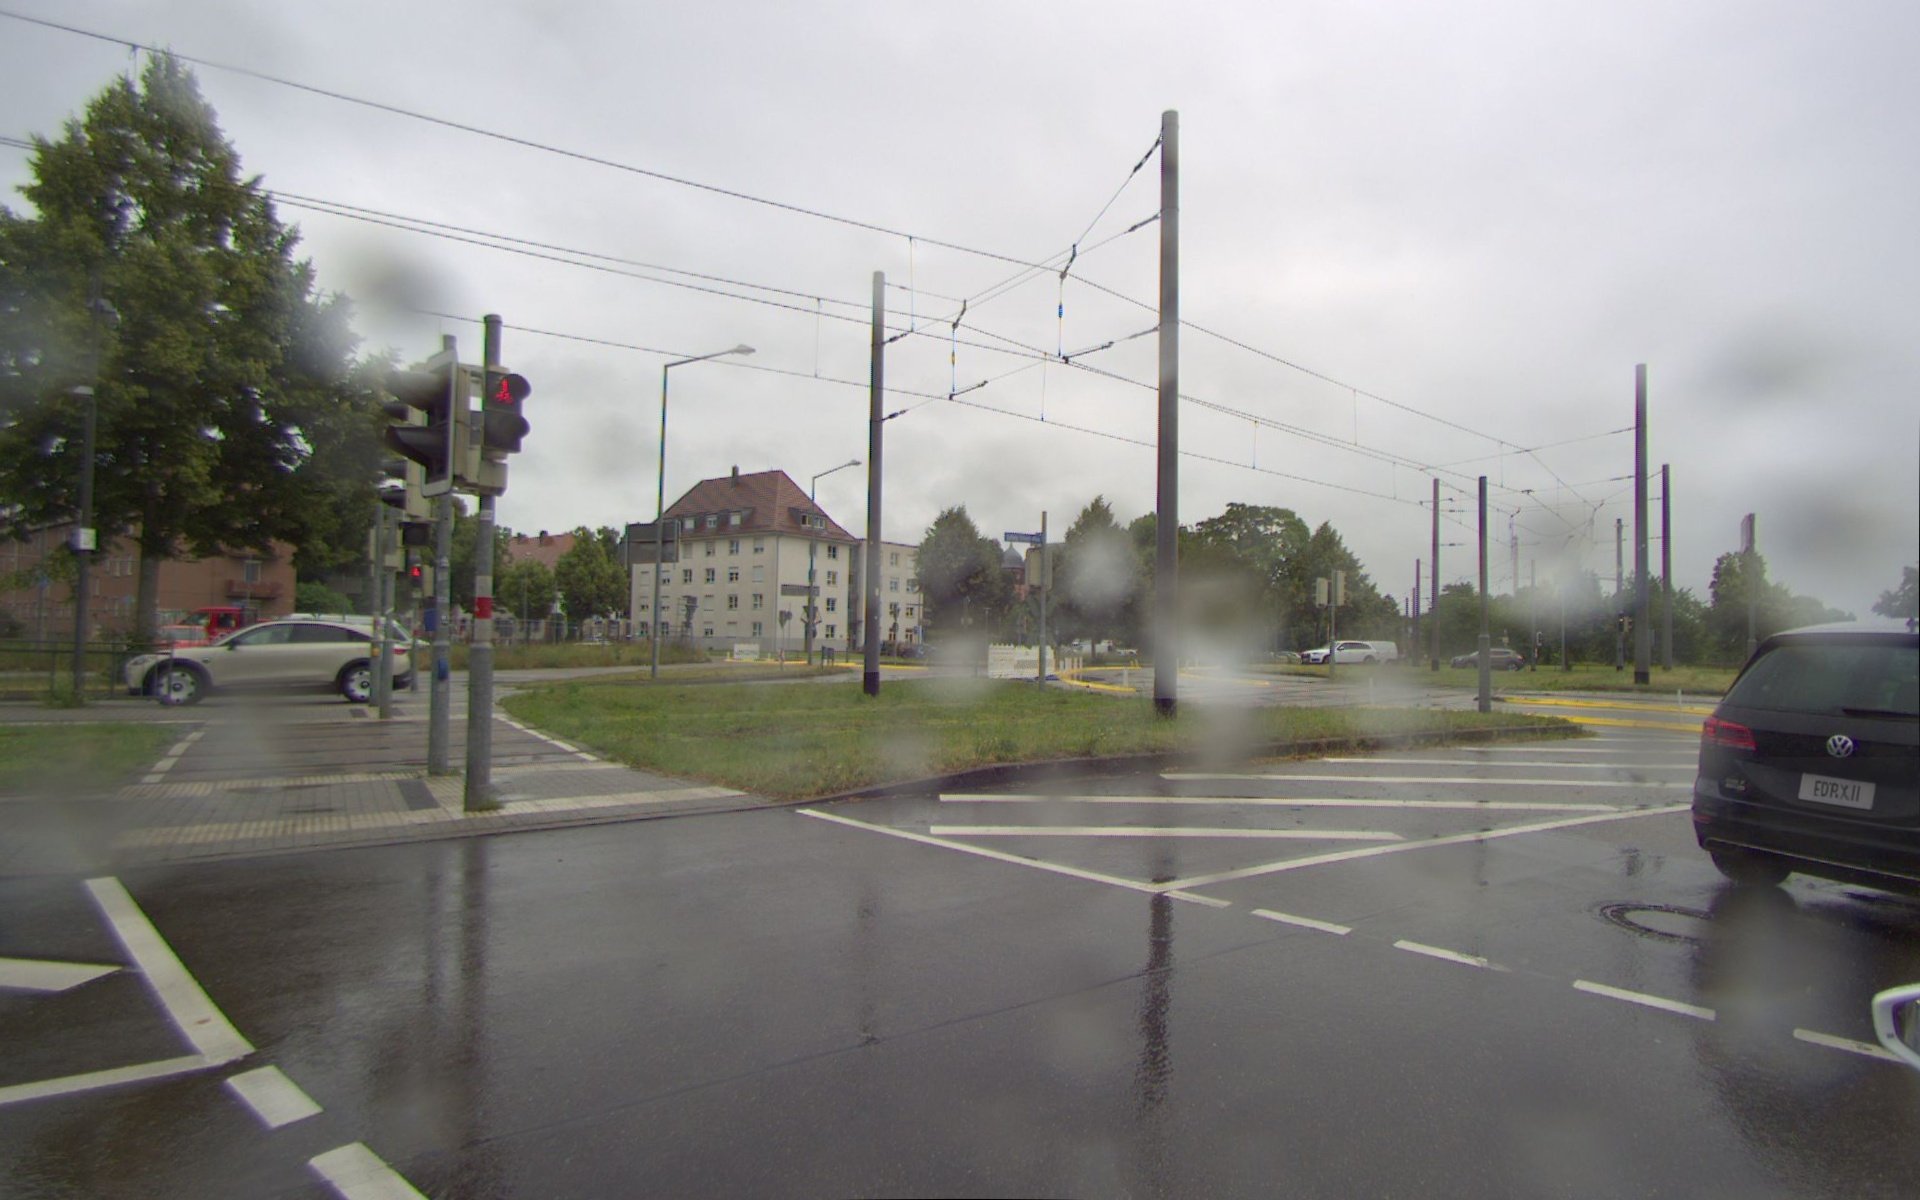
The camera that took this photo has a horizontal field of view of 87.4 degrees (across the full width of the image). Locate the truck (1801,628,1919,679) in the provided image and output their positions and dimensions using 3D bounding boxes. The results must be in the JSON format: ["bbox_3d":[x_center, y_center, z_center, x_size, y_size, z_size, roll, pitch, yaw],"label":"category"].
[{"bbox_3d":[55.842,3.248,59.787,8.677,2.747,1.988,2,-1,44],"label":"truck"}]

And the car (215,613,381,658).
[{"bbox_3d":[-32.031,1.755,48.914,6.335,2.040,2.345,2,-2,-22],"label":"car"}]

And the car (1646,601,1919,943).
[{"bbox_3d":[6.193,0.876,5.715,4.272,1.537,1.779,3,-1,-24],"label":"car"}]

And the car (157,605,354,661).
[{"bbox_3d":[-29.499,1.401,42.356,6.335,2.040,2.344,3,-1,-22],"label":"car"}]

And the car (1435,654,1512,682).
[{"bbox_3d":[34.270,4.497,67.101,4.466,1.511,1.609,2,-1,28],"label":"car"}]

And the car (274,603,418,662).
[{"bbox_3d":[-33.836,1.824,55.625,6.335,2.978,2.344,3,0,-22],"label":"car"}]

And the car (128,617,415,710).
[{"bbox_3d":[-12.678,1.161,18.753,4.185,1.505,1.834,3,-1,-35],"label":"car"}]

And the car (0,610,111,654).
[{"bbox_3d":[-46.661,1.574,50.028,2.323,2.040,6.394,2,-1,42],"label":"car"}]

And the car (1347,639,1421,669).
[{"bbox_3d":[28.147,3.571,66.761,4.088,1.746,1.833,3,0,-7],"label":"car"}]

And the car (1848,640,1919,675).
[{"bbox_3d":[53.100,3.260,56.229,1.763,1.767,4.811,3,-1,-39],"label":"car"}]

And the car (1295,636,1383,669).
[{"bbox_3d":[22.929,3.193,60.832,4.782,1.767,1.774,3,0,-12],"label":"car"}]

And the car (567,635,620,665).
[{"bbox_3d":[-32.257,4.385,88.435,4.762,2.357,1.993,2,-1,36],"label":"car"}]
